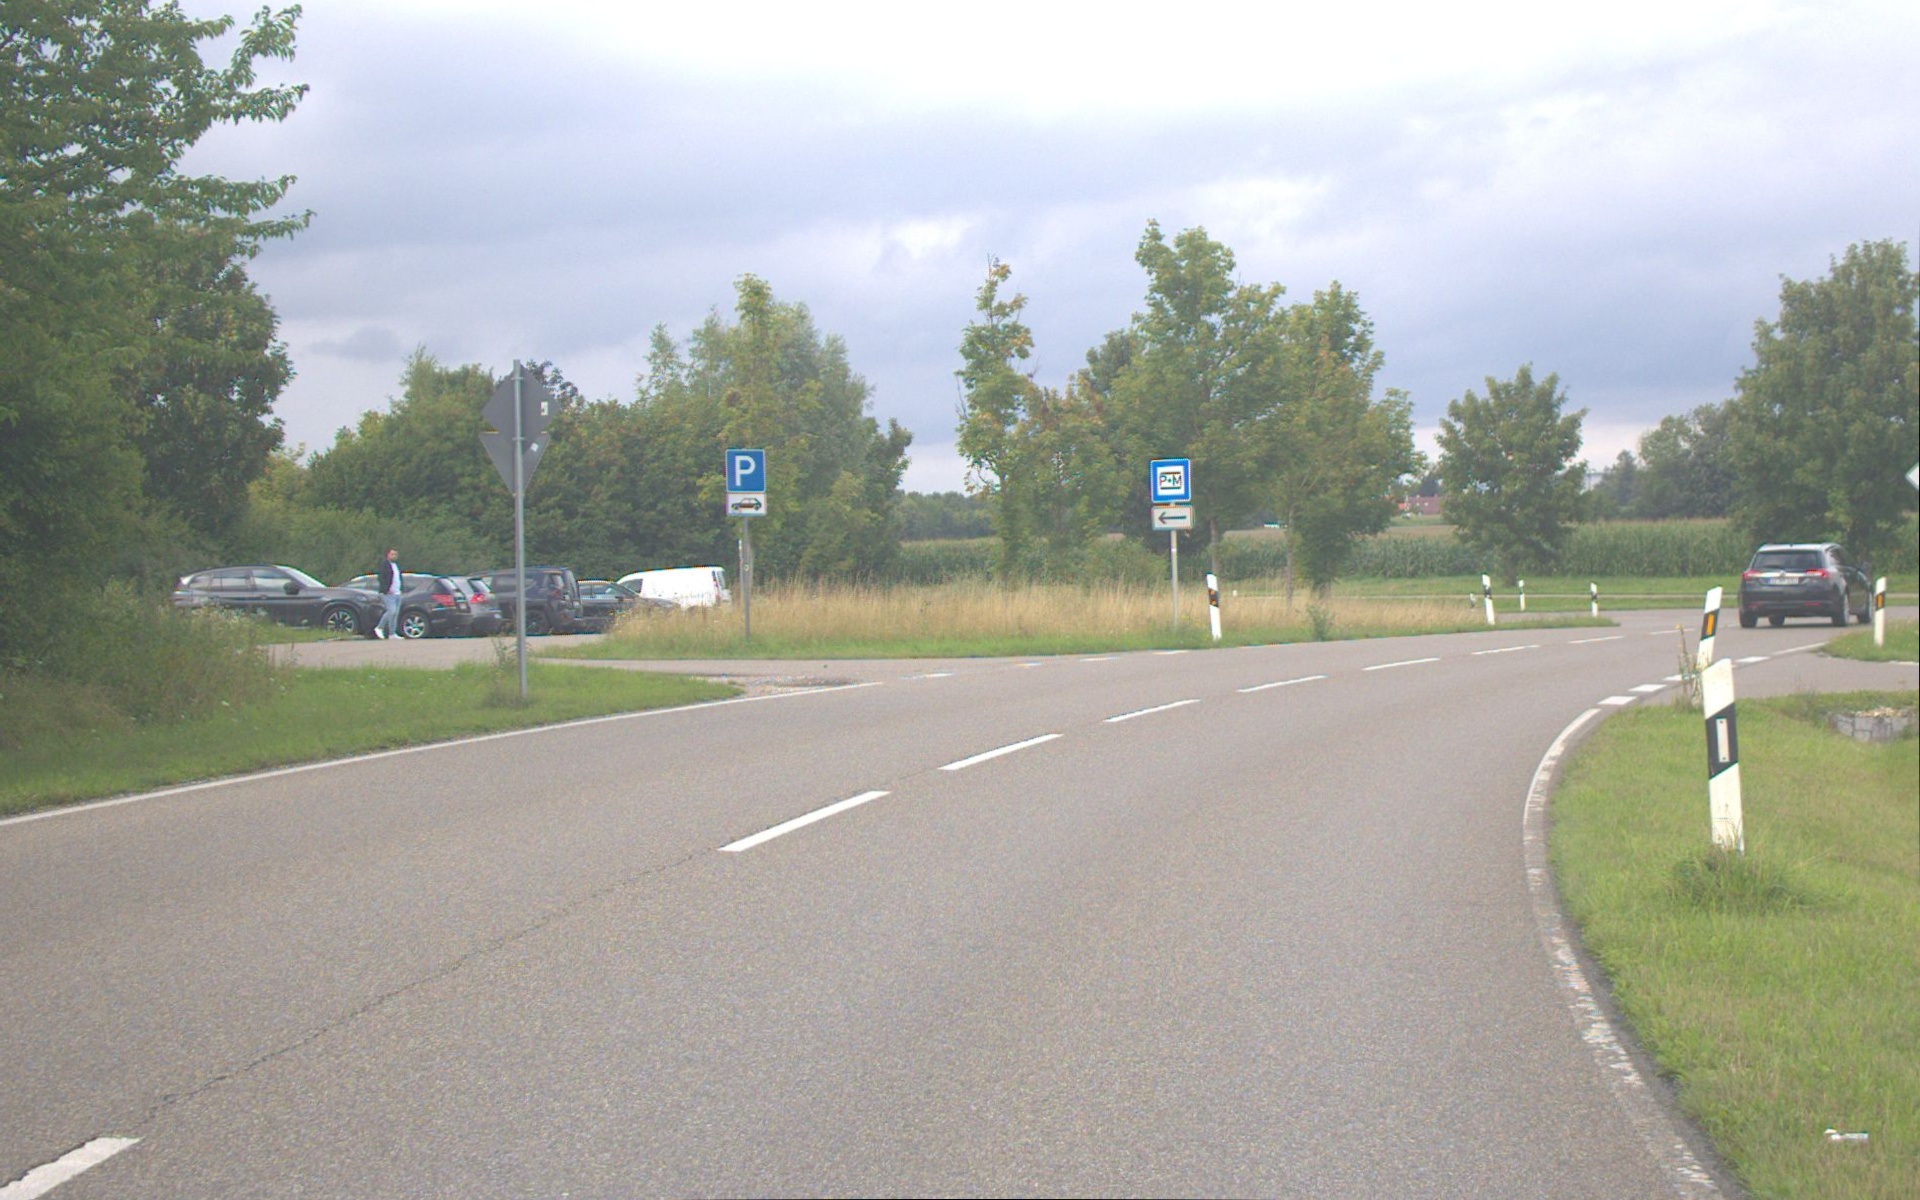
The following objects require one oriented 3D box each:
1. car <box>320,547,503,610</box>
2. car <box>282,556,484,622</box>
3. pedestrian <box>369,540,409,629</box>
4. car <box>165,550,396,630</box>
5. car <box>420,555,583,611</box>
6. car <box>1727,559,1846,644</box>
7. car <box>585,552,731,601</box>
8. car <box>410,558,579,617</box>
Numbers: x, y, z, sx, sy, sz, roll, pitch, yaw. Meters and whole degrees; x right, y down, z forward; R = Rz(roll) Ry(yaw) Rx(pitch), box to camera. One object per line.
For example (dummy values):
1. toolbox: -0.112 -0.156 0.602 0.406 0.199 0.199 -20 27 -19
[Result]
1. car: -12.525 -0.492 78.615 3.986 1.375 1.476 -1 1 -3
2. car: -12.665 -0.248 75.552 3.988 1.375 1.823 -1 1 9
3. pedestrian: -10.813 -0.298 65.139 0.515 1.661 0.660 -1 1 12
4. car: -13.745 -0.206 69.613 4.241 1.560 1.758 -1 1 6
5. car: -11.716 -0.445 88.057 3.986 1.375 1.476 -1 1 -2
6. car: 14.591 0.005 60.538 1.842 1.412 3.997 0 1 16
7. car: -8.678 -0.681 98.911 3.987 1.375 1.476 -1 1 3
8. car: -11.411 -0.316 84.426 3.986 1.375 1.476 -1 1 -3
